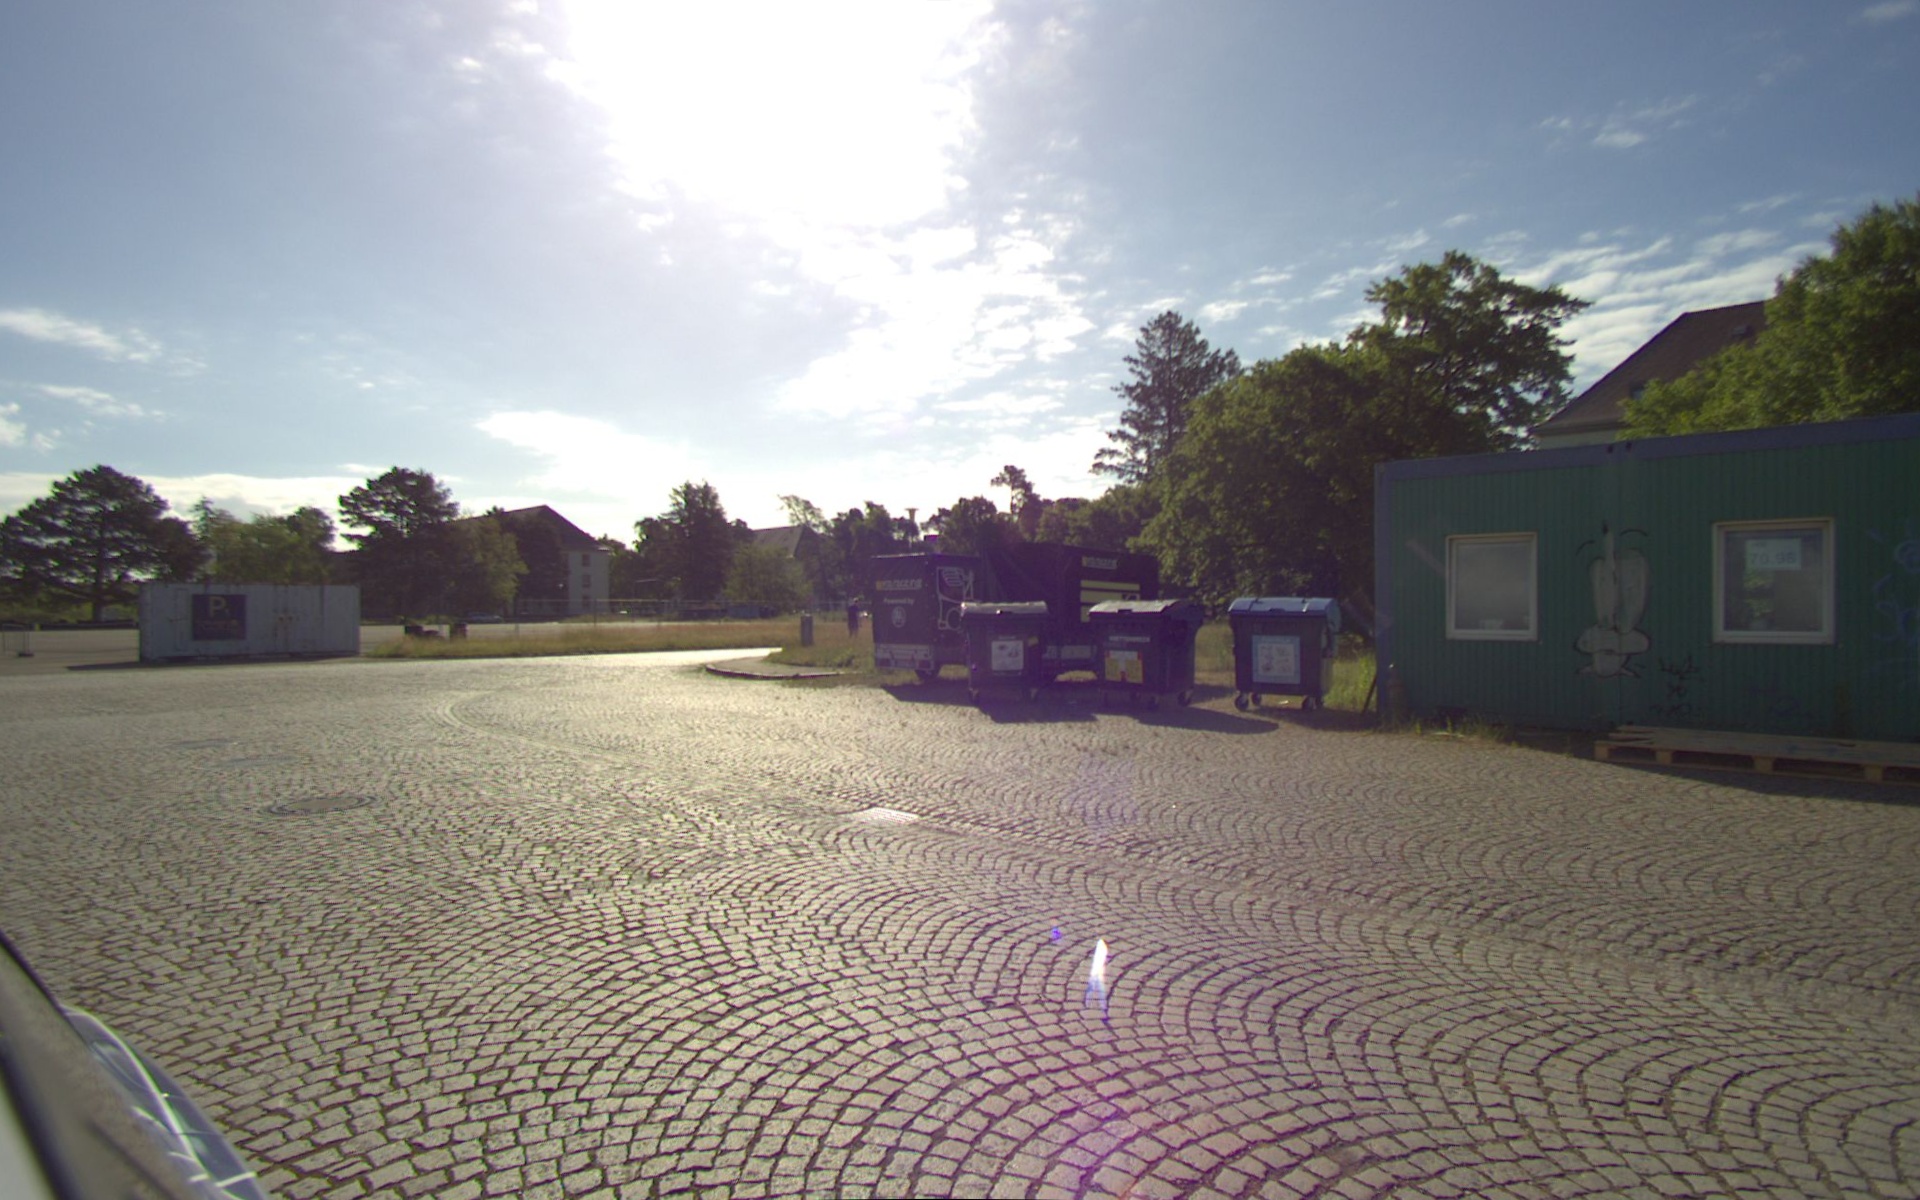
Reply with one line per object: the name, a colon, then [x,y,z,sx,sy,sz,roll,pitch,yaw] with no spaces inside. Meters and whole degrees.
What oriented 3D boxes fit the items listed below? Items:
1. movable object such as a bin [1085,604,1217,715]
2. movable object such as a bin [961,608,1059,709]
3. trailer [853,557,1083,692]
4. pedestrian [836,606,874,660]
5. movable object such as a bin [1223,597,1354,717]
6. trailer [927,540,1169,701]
movable object such as a bin: [2.559,0.757,13.595,1.068,1.396,1.370,0,-1,-44]
movable object such as a bin: [0.695,0.824,14.677,1.345,1.396,1.047,0,-1,0]
trailer: [0.269,0.399,19.582,2.014,2.290,4.406,-1,0,42]
pedestrian: [-3.857,1.191,37.101,0.800,1.929,1.126,-1,-1,43]
movable object such as a bin: [4.261,0.702,13.105,1.404,1.447,1.077,-1,-1,31]
trailer: [1.686,0.295,17.609,1.939,2.409,4.795,-1,0,37]
